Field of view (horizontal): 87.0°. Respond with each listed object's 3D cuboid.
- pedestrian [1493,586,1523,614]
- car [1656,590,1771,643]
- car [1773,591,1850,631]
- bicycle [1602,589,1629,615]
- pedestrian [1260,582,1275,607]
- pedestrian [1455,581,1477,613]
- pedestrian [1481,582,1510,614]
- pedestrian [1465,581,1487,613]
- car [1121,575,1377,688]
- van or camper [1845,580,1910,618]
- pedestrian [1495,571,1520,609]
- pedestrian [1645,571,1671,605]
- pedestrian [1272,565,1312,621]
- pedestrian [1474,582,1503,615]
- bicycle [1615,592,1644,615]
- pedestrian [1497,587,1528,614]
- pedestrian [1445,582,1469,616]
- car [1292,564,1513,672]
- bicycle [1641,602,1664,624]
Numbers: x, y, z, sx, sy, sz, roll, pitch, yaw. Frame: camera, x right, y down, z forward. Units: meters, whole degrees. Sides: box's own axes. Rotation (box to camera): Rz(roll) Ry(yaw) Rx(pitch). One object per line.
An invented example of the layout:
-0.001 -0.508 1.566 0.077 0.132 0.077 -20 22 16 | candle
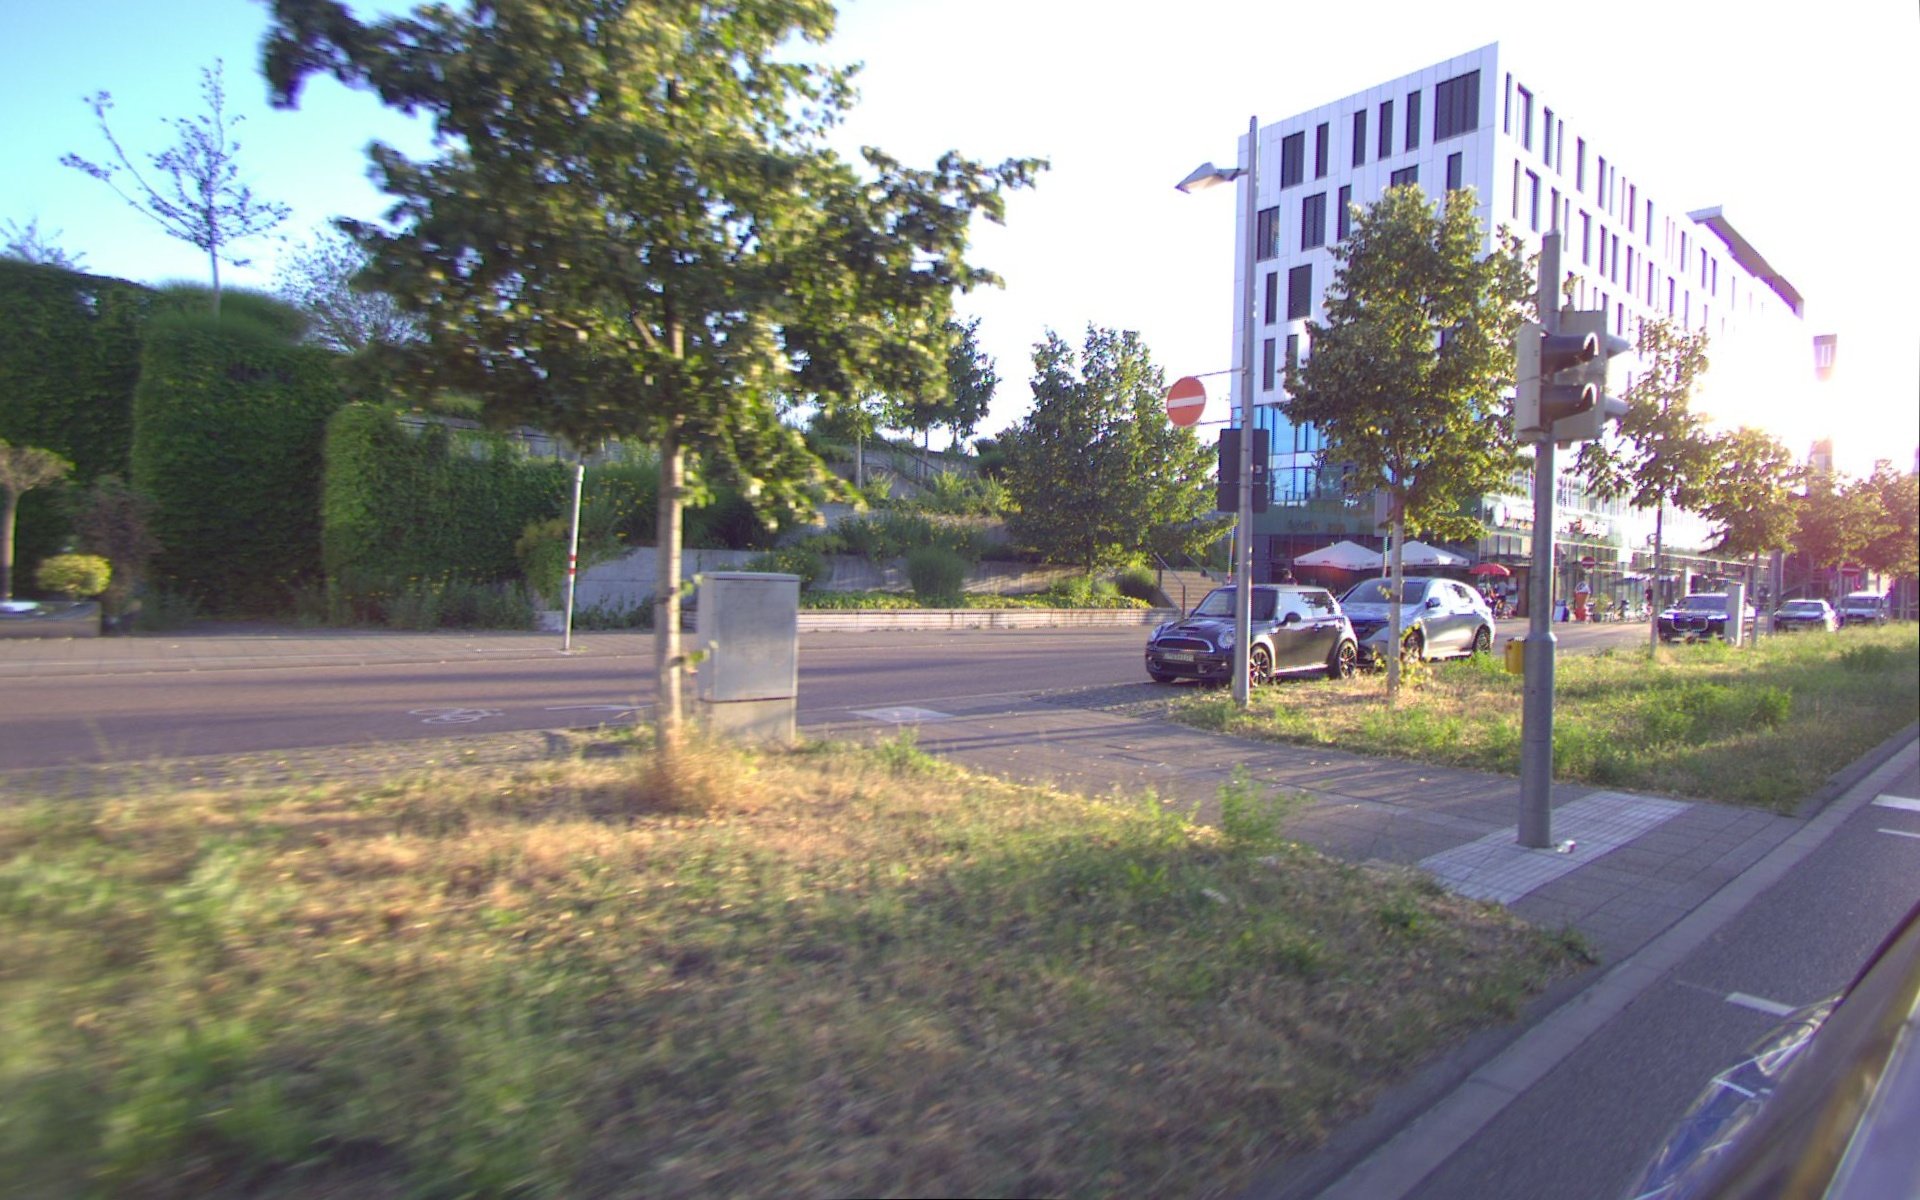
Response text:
24.498 -0.003 45.239 0.673 1.139 0.975 0 4 -40 | pedestrian
24.320 0.476 32.575 5.317 1.519 1.923 0 2 -42 | car
35.294 0.409 41.919 4.402 1.519 1.812 0 2 -42 | car
30.850 0.095 47.623 0.640 1.147 1.843 5 3 45 | bicycle
15.410 -0.260 50.646 0.525 1.230 0.476 0 1 -35 | pedestrian
21.598 -0.130 43.183 0.654 1.306 0.681 3 3 17 | pedestrian
22.713 -0.081 42.937 0.671 1.306 0.778 1 3 -34 | pedestrian
22.248 -0.138 43.651 0.681 1.306 0.621 4 3 36 | pedestrian
4.264 0.371 14.652 3.931 1.415 1.752 0 1 -42 | car
48.349 -0.051 53.311 4.745 1.944 1.962 0 0 -41 | van or camper
26.354 -0.487 48.730 0.670 1.781 0.664 1 3 -23 | pedestrian
40.880 -0.702 59.258 0.931 1.906 1.028 0 2 -42 | pedestrian
10.263 -0.215 31.282 1.060 1.675 0.696 0 1 -42 | pedestrian
22.086 -0.061 42.306 0.671 1.306 0.783 1 3 -34 | pedestrian
32.571 0.174 49.206 2.039 1.076 0.684 0 3 -44 | bicycle
25.025 0.011 45.846 0.673 1.139 0.975 0 4 -40 | pedestrian
20.818 -0.048 42.363 0.741 1.385 0.760 2 1 38 | pedestrian
7.865 0.289 17.780 4.595 1.653 1.811 0 -1 -42 | car
34.477 0.634 50.367 0.596 1.053 2.041 5 3 42 | bicycle
